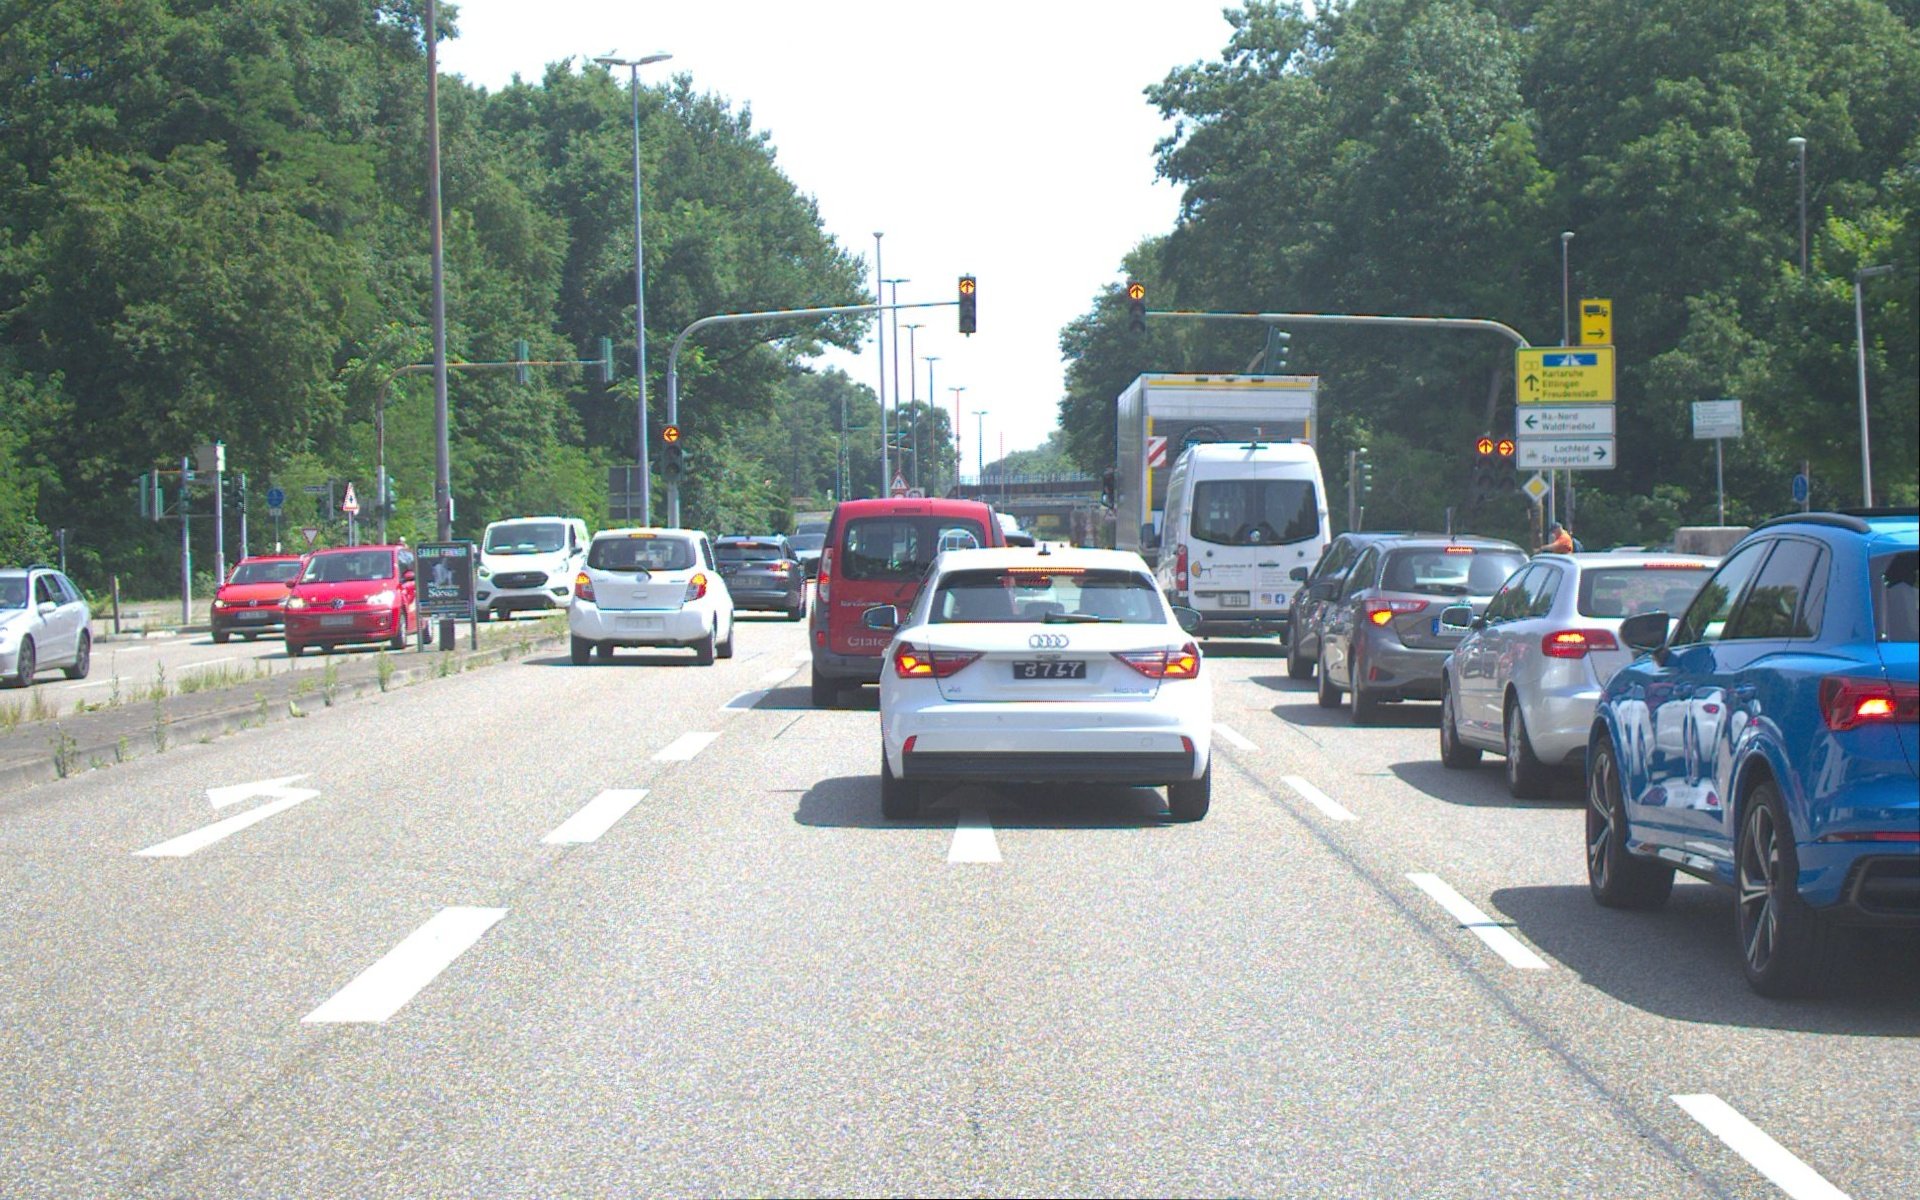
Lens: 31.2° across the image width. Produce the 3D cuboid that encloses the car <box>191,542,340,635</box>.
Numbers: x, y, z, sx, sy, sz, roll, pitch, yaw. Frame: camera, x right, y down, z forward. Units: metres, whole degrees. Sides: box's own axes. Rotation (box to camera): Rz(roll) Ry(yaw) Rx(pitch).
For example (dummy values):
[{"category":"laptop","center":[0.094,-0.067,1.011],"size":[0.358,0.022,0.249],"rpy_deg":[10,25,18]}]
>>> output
[{"category":"car","center":[-12.097,-0.221,60.082],"size":[1.705,1.447,3.891],"rpy_deg":[-3,1,1]}]

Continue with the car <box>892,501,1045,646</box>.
[{"category":"car","center":[0.058,-0.346,40.668],"size":[1.712,1.626,4.092],"rpy_deg":[0,1,-1]}]

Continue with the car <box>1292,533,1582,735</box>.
[{"category":"car","center":[3.891,0.226,28.668],"size":[1.712,1.473,4.092],"rpy_deg":[3,1,-1]}]

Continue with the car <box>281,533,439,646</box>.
[{"category":"car","center":[-8.370,-0.179,48.222],"size":[1.580,1.436,3.609],"rpy_deg":[-3,1,-1]}]

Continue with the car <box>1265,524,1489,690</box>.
[{"category":"car","center":[4.184,0.025,35.057],"size":[1.712,1.587,4.092],"rpy_deg":[0,1,-1]}]

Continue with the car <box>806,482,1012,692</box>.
[{"category":"car","center":[-0.456,-0.151,30.589],"size":[1.712,1.742,4.092],"rpy_deg":[0,1,-1]}]

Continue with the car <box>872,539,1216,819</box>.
[{"category":"car","center":[0.384,0.358,19.195],"size":[1.712,1.381,4.092],"rpy_deg":[0,1,-1]}]

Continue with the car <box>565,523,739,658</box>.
[{"category":"car","center":[-3.518,-0.147,39.849],"size":[1.712,1.487,4.092],"rpy_deg":[0,1,-1]}]

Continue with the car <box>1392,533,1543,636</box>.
[{"category":"car","center":[7.964,-0.274,54.295],"size":[1.712,1.541,4.092],"rpy_deg":[0,1,-1]}]

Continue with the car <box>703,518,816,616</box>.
[{"category":"car","center":[-3.417,-0.592,59.090],"size":[1.774,1.635,4.037],"rpy_deg":[0,1,-1]}]

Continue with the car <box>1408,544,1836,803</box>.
[{"category":"car","center":[3.890,0.371,20.859],"size":[1.712,1.357,4.092],"rpy_deg":[1,1,-1]}]

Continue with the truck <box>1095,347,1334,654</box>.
[{"category":"truck","center":[3.912,-1.566,55.644],"size":[3.088,4.418,11.580],"rpy_deg":[1,1,1]}]

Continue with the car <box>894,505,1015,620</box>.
[{"category":"car","center":[-0.112,-0.571,50.622],"size":[1.712,1.626,4.092],"rpy_deg":[0,1,-1]}]

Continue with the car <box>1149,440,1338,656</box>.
[{"category":"car","center":[3.598,-0.692,44.469],"size":[2.031,2.635,4.845],"rpy_deg":[0,1,0]}]

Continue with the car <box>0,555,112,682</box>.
[{"category":"car","center":[-11.703,0.228,41.603],"size":[1.777,1.399,4.360],"rpy_deg":[-4,1,-1]}]

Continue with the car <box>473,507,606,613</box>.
[{"category":"car","center":[-8.296,-0.822,68.206],"size":[1.993,1.939,4.909],"rpy_deg":[-3,1,-1]}]

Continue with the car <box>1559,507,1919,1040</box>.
[{"category":"car","center":[3.481,0.463,12.452],"size":[1.837,1.590,4.400],"rpy_deg":[0,1,0]}]
